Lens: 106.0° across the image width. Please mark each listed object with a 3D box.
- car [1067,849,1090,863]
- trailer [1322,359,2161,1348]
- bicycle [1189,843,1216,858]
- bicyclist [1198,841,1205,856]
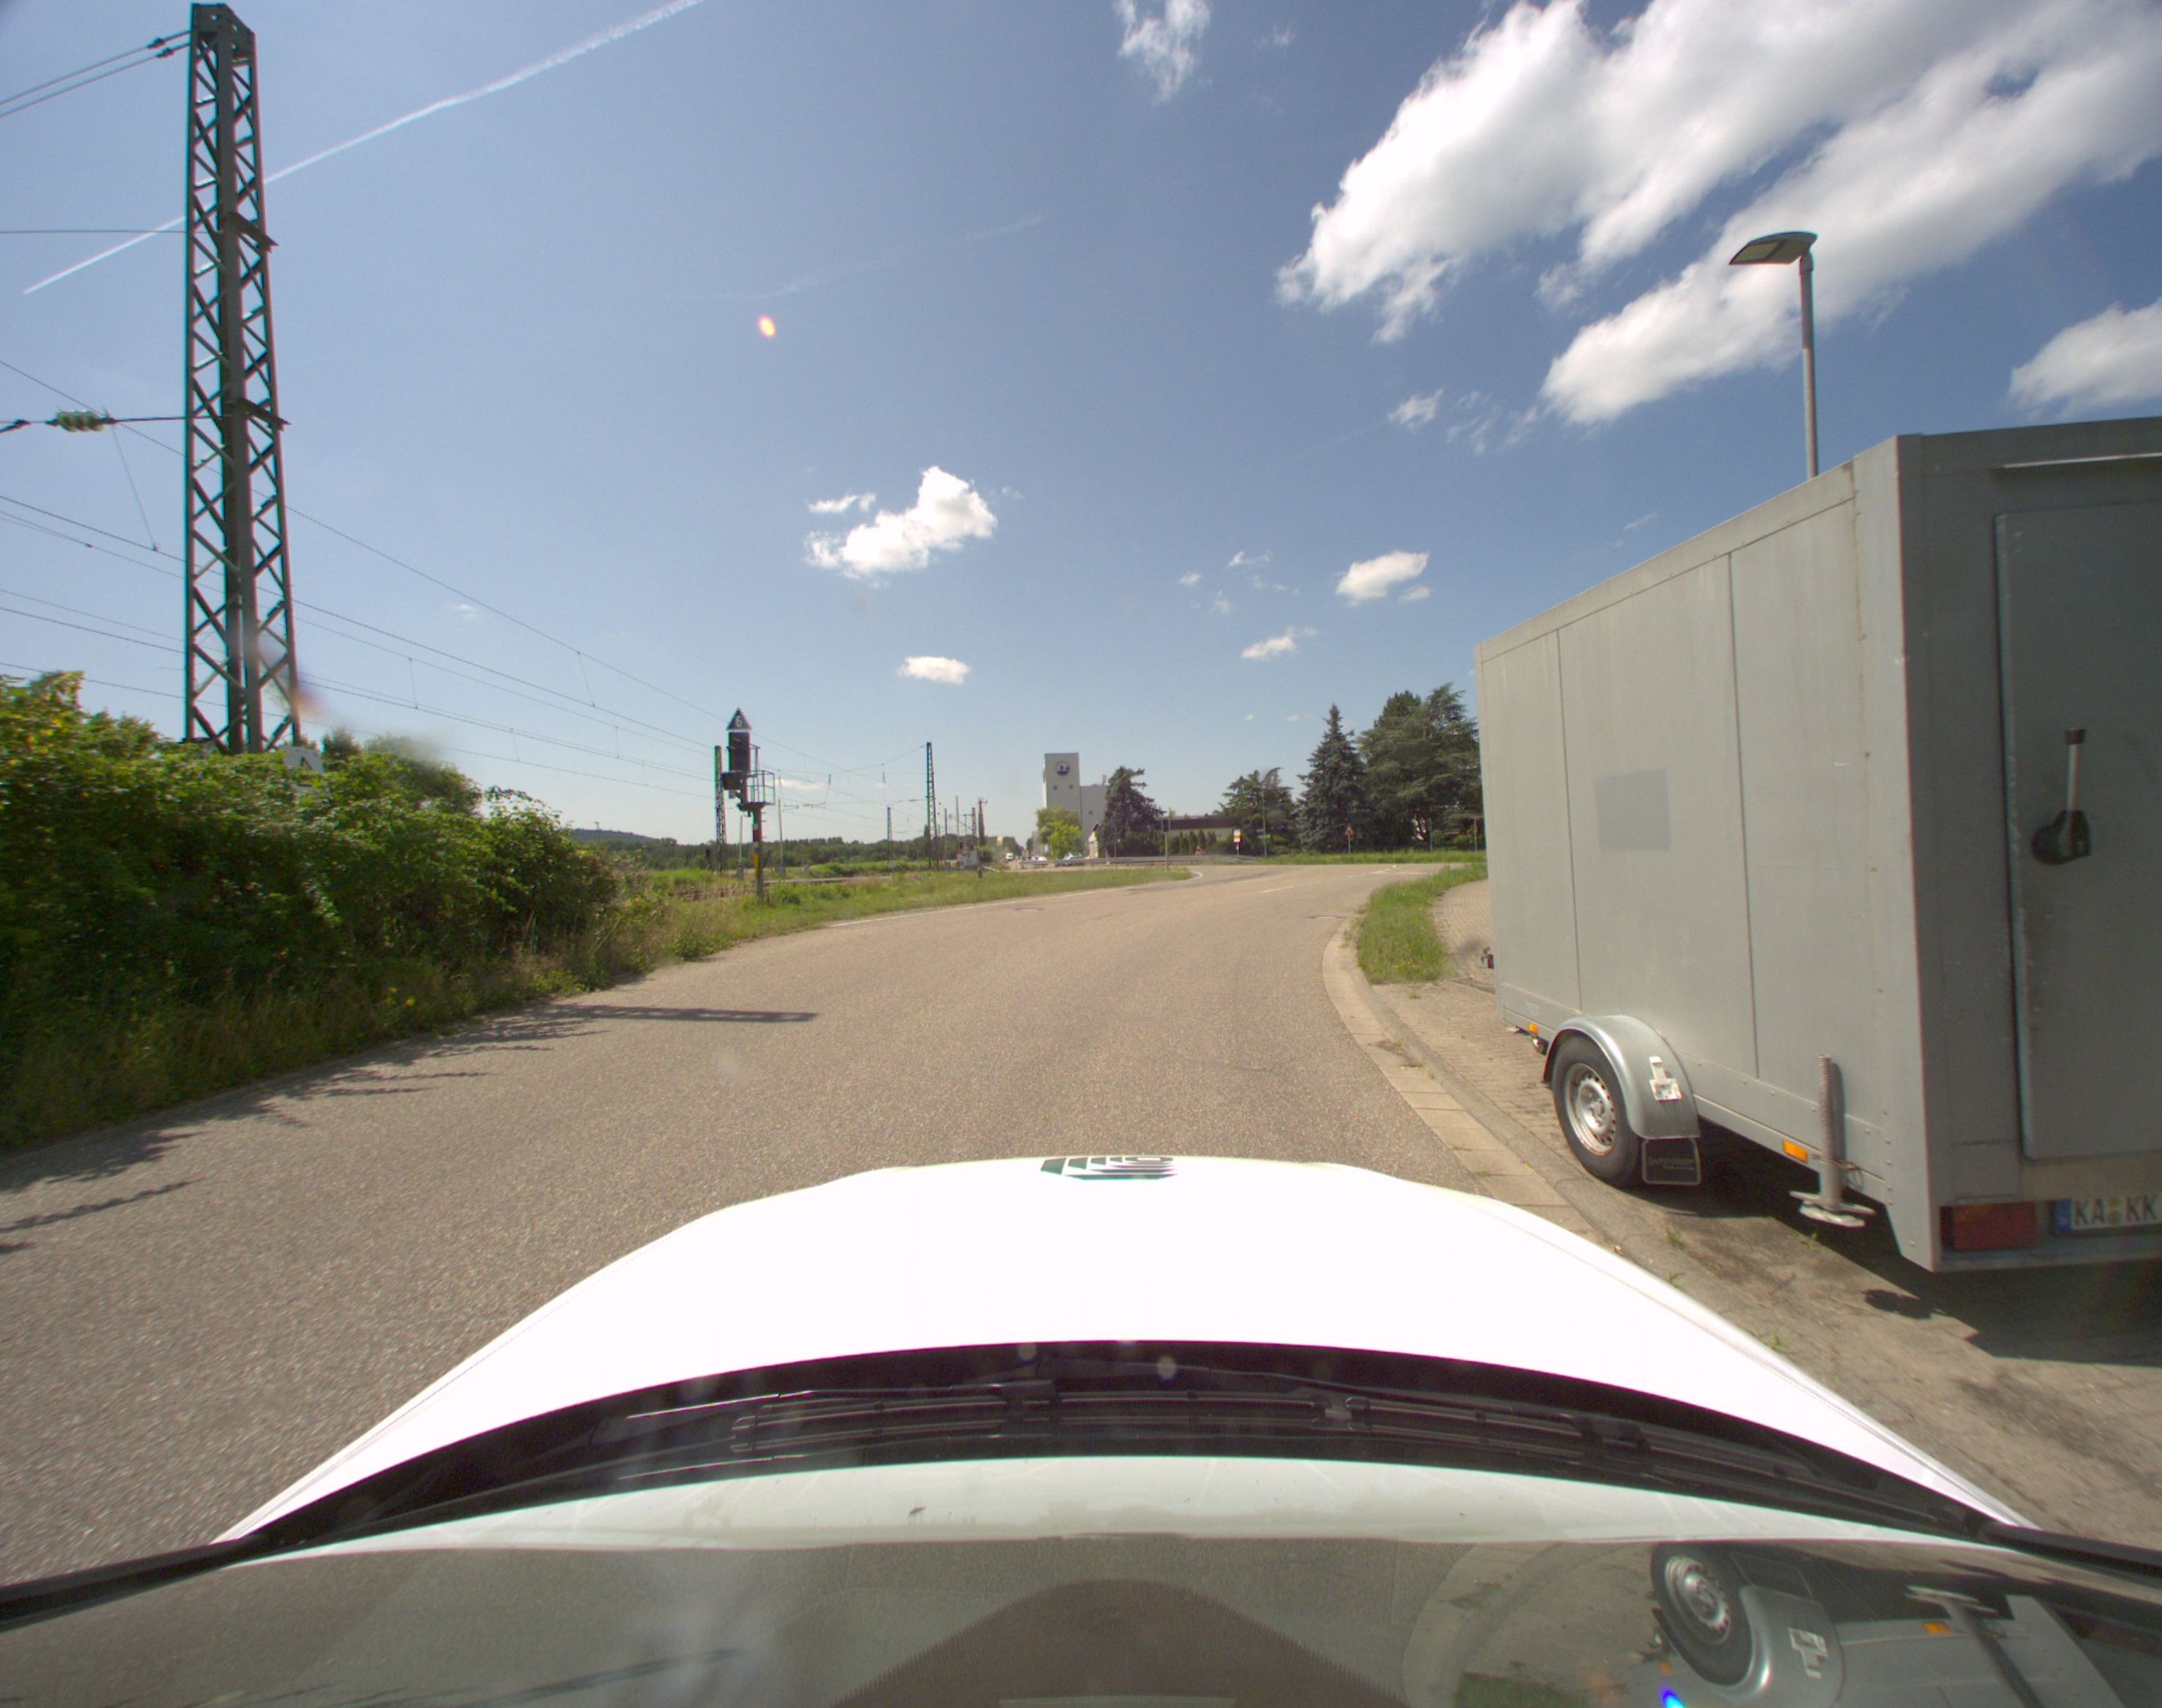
[{"bbox_3d":[-0.329,0.224,97.529,1.993,1.509,4.441,-2,1,-9],"label":"car"},{"bbox_3d":[3.139,-0.065,4.813,1.925,2.644,5.187,-5,1,3],"label":"trailer"},{"bbox_3d":[10.314,-0.320,69.035,2.121,1.164,0.664,-2,1,20],"label":"bicycle"},{"bbox_3d":[10.226,-0.497,69.043,0.505,1.255,0.472,-2,1,20],"label":"bicyclist"}]
